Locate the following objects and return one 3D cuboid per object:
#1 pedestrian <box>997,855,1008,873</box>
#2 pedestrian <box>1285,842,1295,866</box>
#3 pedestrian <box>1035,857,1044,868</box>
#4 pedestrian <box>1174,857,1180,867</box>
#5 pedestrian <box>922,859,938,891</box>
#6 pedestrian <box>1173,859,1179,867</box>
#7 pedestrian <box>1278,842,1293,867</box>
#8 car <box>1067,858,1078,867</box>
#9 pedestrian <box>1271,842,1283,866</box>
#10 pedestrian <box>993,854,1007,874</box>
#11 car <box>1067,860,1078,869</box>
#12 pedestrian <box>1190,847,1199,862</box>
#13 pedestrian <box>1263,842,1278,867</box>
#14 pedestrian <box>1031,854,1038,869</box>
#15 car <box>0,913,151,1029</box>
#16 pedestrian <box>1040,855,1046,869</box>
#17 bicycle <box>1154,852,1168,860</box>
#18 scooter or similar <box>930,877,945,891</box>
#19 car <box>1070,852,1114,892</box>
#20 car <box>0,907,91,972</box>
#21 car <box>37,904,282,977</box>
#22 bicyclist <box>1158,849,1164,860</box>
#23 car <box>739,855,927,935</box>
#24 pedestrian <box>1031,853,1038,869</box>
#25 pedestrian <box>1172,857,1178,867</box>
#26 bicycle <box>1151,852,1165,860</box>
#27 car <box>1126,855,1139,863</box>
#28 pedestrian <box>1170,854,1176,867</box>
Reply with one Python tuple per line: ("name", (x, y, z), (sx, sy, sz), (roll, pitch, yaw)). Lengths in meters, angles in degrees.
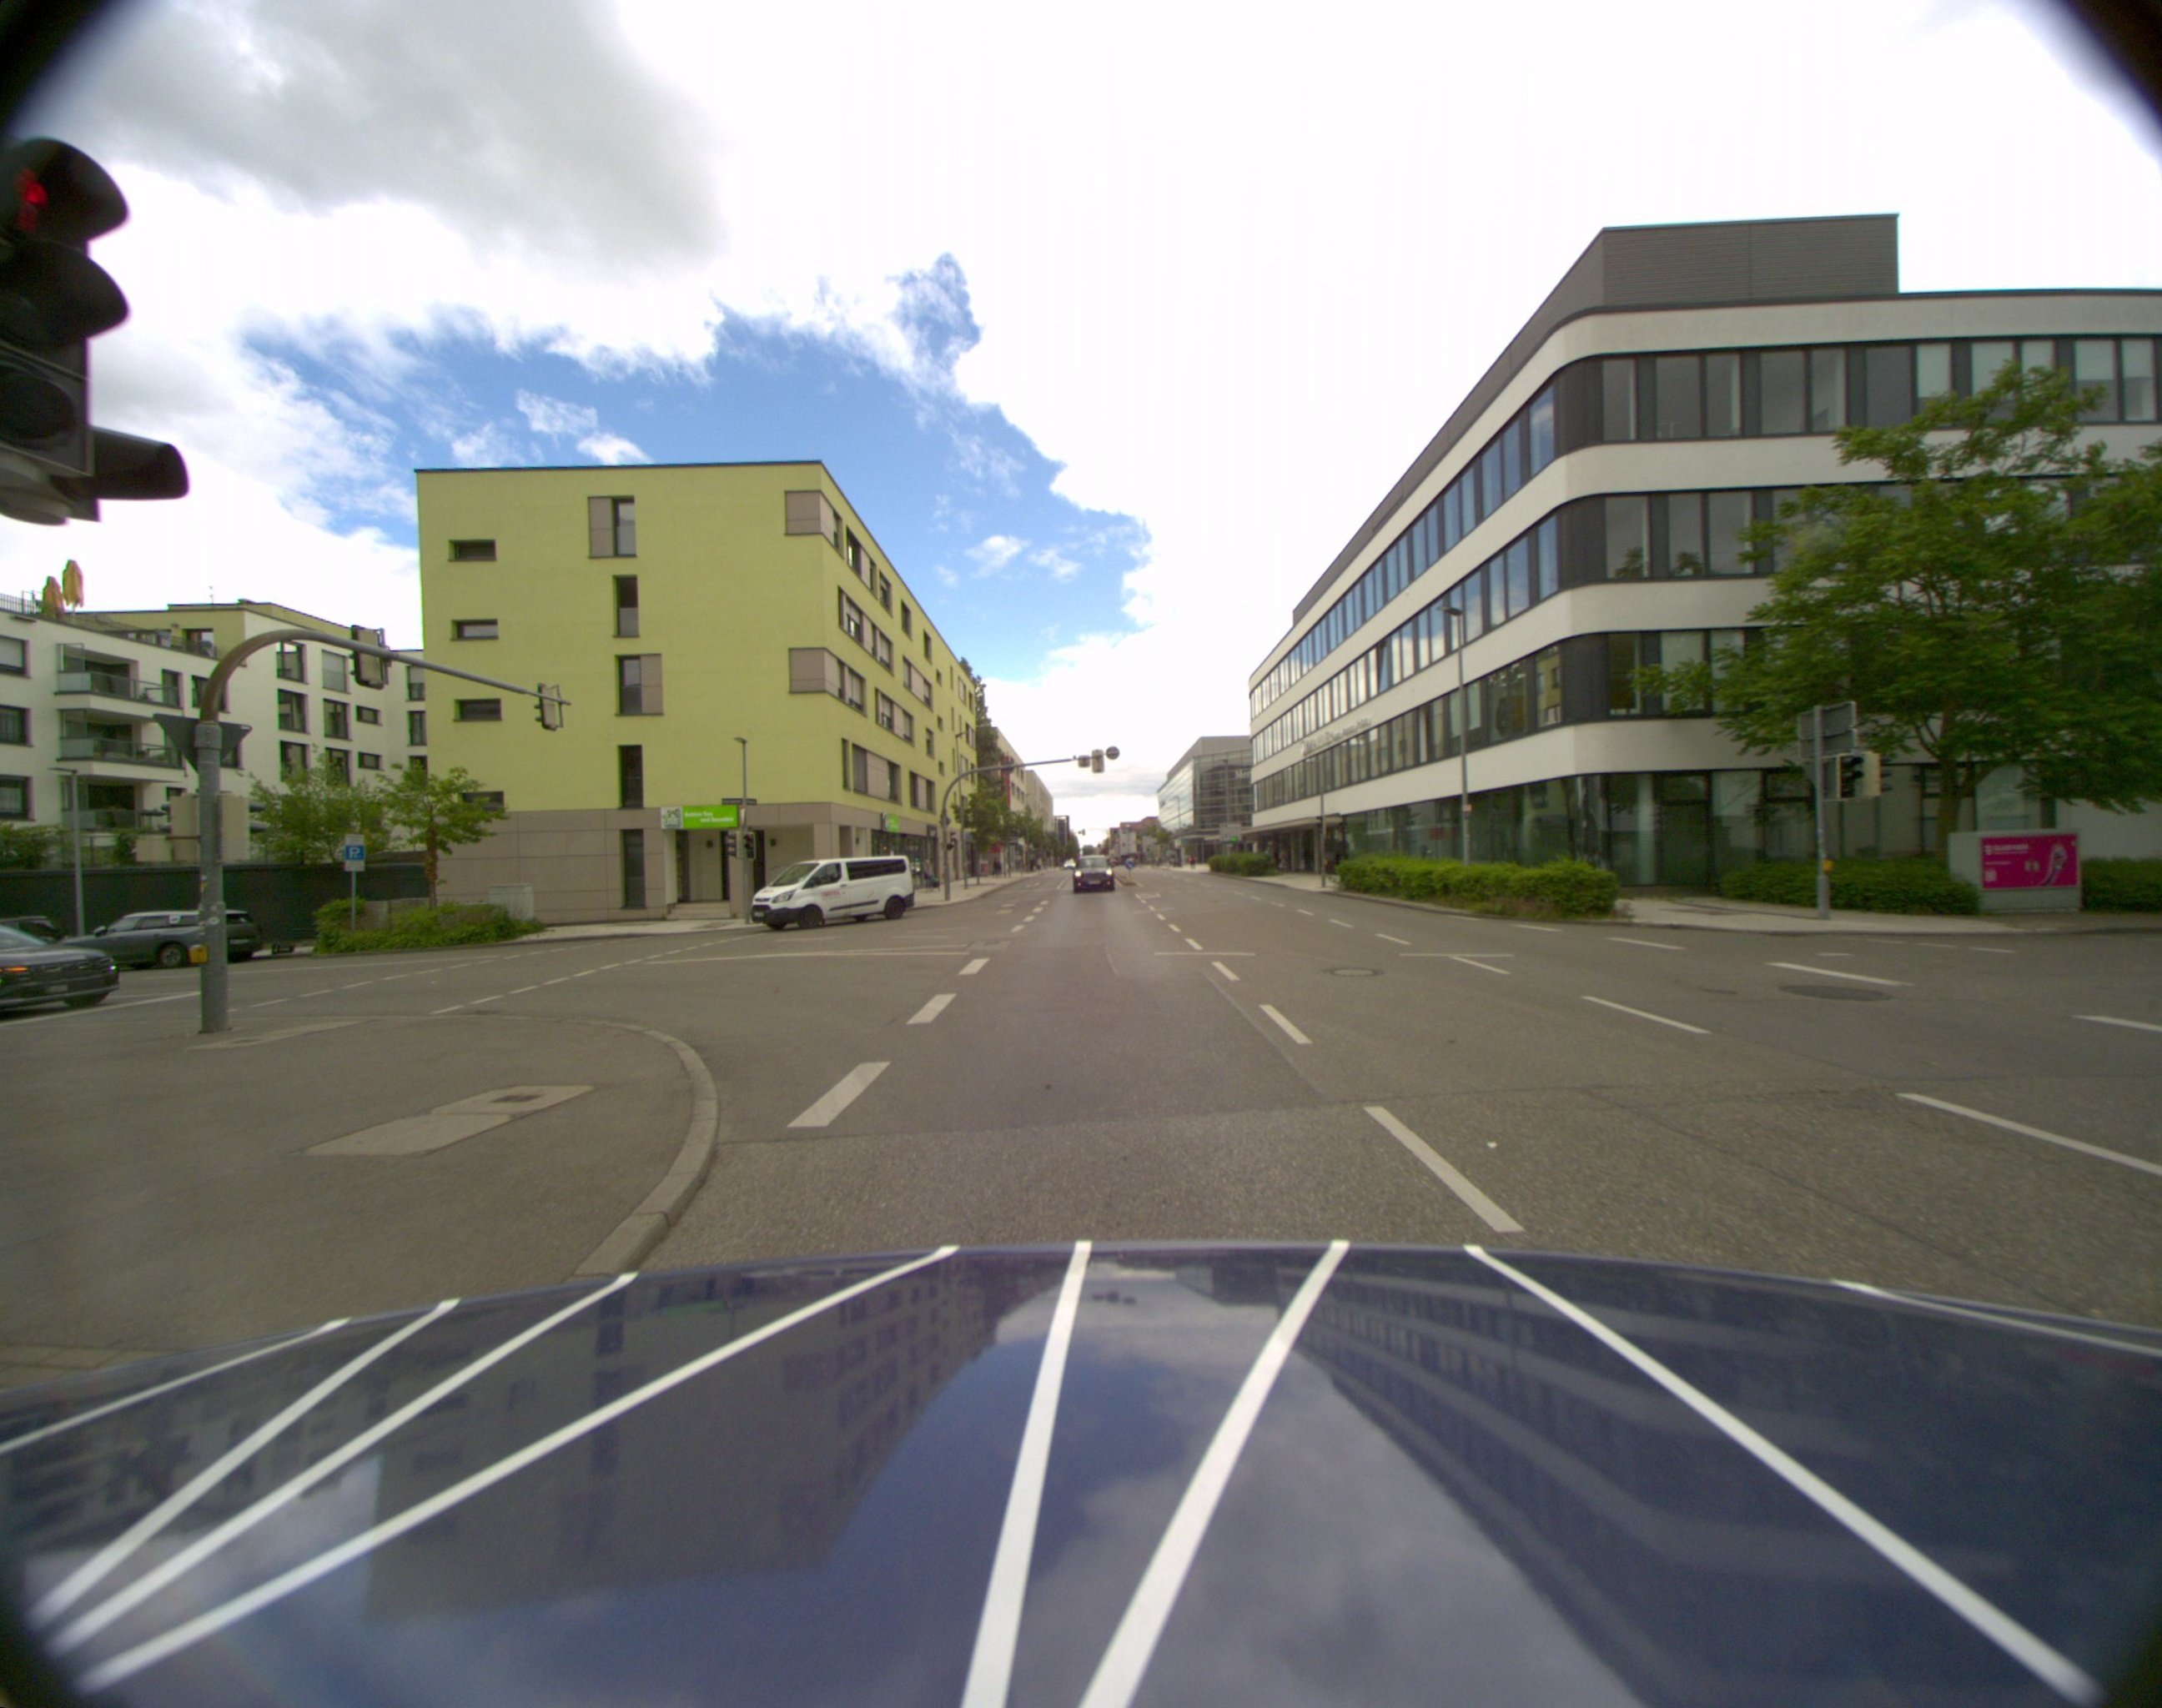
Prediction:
("pedestrian", (-6.898, 0.855, 67.074), (0.871, 1.574, 0.804), (-1, 0, 0))
("pedestrian", (14.933, -0.022, 54.233), (0.505, 1.719, 0.616), (-1, 0, 32))
("pedestrian", (-4.823, 1.011, 88.023), (0.945, 1.252, 0.732), (0, 0, -2))
("pedestrian", (12.259, 1.006, 97.107), (0.686, 1.312, 0.576), (0, 0, -1))
("pedestrian", (-7.513, 1.034, 37.809), (0.697, 1.584, 0.603), (0, 0, 0))
("pedestrian", (12.272, 1.153, 97.778), (0.686, 1.069, 0.576), (1, 0, -1))
("pedestrian", (13.571, 0.025, 50.501), (0.732, 1.604, 0.931), (-3, 0, 3))
("car", (-1.421, 1.378, 128.019), (1.787, 1.417, 4.514), (-2, 0, 0))
("pedestrian", (14.151, 0.005, 54.904), (0.616, 1.700, 0.505), (-2, 0, -29))
("pedestrian", (-6.497, 0.827, 60.848), (0.949, 1.574, 1.016), (-1, 0, 0))
("car", (-1.534, 1.854, 134.405), (1.741, 1.533, 4.790), (-3, 0, 1))
("pedestrian", (12.198, 0.082, 81.811), (0.832, 1.558, 0.813), (-3, 0, 6))
("pedestrian", (12.711, 0.040, 50.860), (0.732, 1.664, 0.931), (-3, 0, 3))
("pedestrian", (-5.218, 0.848, 85.500), (0.722, 1.674, 0.733), (0, 0, 6))
("car", (-18.568, 1.976, 12.501), (4.098, 1.649, 1.952), (-3, 0, 1))
("pedestrian", (-4.515, 0.936, 89.643), (0.580, 1.581, 0.733), (0, 0, 6))
("bicycle", (12.357, 0.361, 117.429), (2.003, 1.123, 0.639), (-4, 0, 16))
("scooter or similar", (-7.276, 1.506, 38.538), (0.593, 0.669, 0.824), (0, 0, 0))
("car", (0.548, 0.713, 32.961), (1.691, 1.550, 4.745), (-3, 0, 3))
("car", (-31.689, 2.513, 21.562), (4.421, 1.651, 1.969), (-3, 0, -2))
("car", (-26.190, 2.418, 21.735), (4.421, 1.606, 1.969), (-3, 0, -2))
("bicyclist", (12.371, 0.104, 117.413), (0.783, 1.639, 0.639), (-4, 0, 16))
("car", (-7.313, 1.137, 22.884), (1.996, 1.976, 5.010), (-3, 0, 39))
("pedestrian", (-5.296, 0.804, 86.941), (0.580, 1.759, 0.857), (0, 0, 6))
("pedestrian", (12.219, 1.071, 98.377), (0.686, 1.246, 0.576), (-1, 0, -1))
("bicycle", (12.162, 0.309, 120.185), (0.749, 1.199, 2.026), (-4, 0, -45))
("car", (9.323, 0.924, 137.816), (1.901, 1.407, 4.471), (-3, 0, 1))
("pedestrian", (11.992, 0.867, 99.015), (0.688, 1.621, 0.574), (0, 0, -40))
